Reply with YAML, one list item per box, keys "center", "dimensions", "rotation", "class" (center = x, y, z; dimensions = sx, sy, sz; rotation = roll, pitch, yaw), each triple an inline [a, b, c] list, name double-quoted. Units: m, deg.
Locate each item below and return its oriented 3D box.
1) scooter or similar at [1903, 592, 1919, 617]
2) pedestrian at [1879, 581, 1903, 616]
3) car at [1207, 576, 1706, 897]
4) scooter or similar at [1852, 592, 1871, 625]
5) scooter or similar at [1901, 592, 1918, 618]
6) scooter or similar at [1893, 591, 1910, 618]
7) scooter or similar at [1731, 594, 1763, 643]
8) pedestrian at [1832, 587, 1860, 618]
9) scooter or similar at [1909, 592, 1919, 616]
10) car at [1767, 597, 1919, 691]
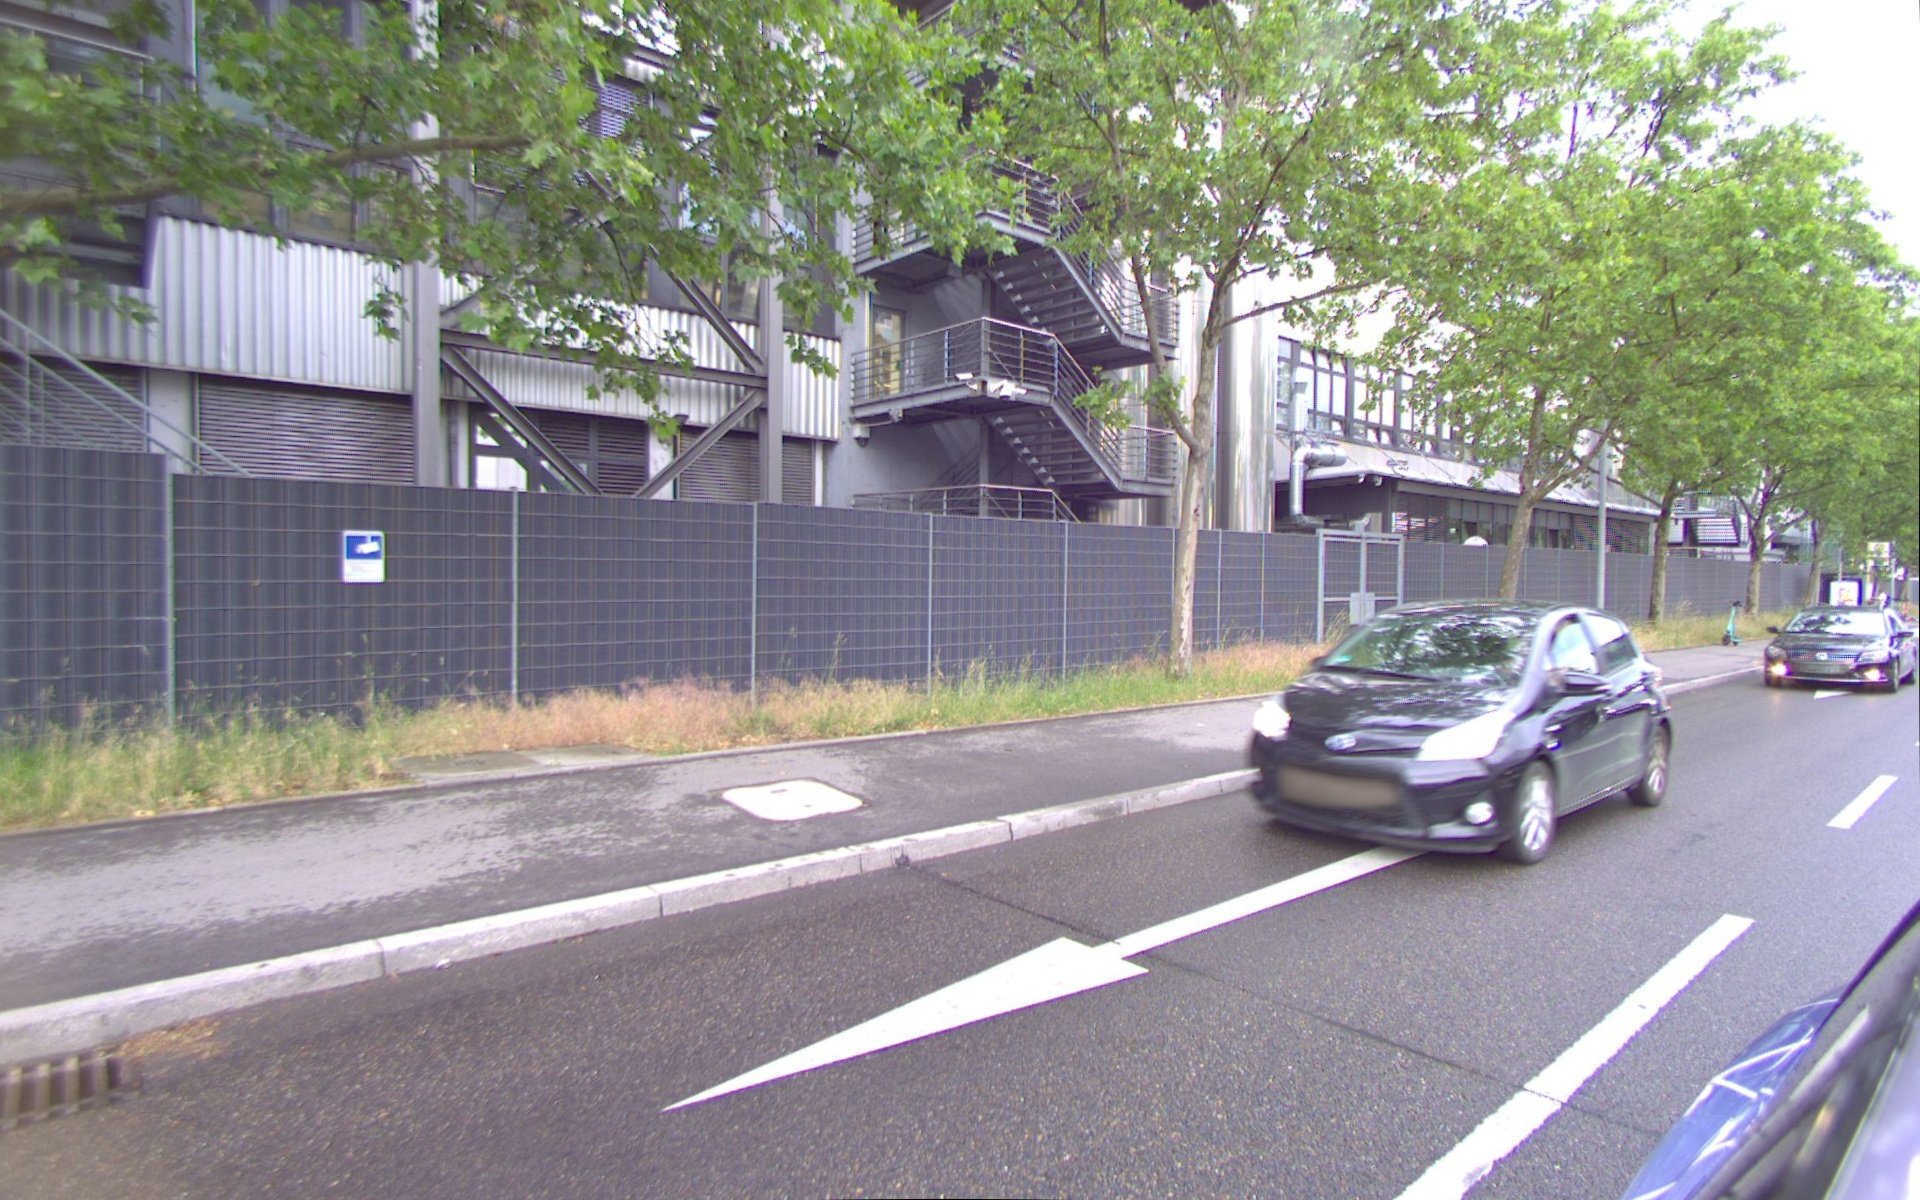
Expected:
- center: [51.030, 0.233, 54.270]
  dimensions: [1.277, 1.311, 0.437]
  rotation: [0, 1, -39]
  class: "scooter or similar"
- center: [46.463, -0.100, 50.521]
  dimensions: [0.717, 1.731, 0.777]
  rotation: [0, 1, -42]
  class: "pedestrian"
- center: [3.623, 0.642, 7.023]
  dimensions: [4.010, 1.512, 1.877]
  rotation: [0, 3, -45]
  class: "car"
- center: [37.390, 0.336, 41.957]
  dimensions: [1.222, 1.325, 0.329]
  rotation: [0, 1, -37]
  class: "scooter or similar"
- center: [49.540, 0.247, 52.803]
  dimensions: [1.277, 1.311, 0.437]
  rotation: [0, 1, -39]
  class: "scooter or similar"
- center: [48.391, 0.225, 52.002]
  dimensions: [1.277, 1.311, 0.437]
  rotation: [0, 1, -39]
  class: "scooter or similar"
- center: [21.411, 0.494, 27.533]
  dimensions: [1.087, 1.285, 0.330]
  rotation: [0, 1, -33]
  class: "scooter or similar"
- center: [43.109, 0.108, 49.232]
  dimensions: [0.686, 1.433, 0.932]
  rotation: [0, 1, -42]
  class: "pedestrian"
- center: [52.543, 0.223, 55.482]
  dimensions: [1.341, 1.311, 0.437]
  rotation: [0, 1, -34]
  class: "scooter or similar"
- center: [16.148, 0.692, 18.257]
  dimensions: [4.705, 1.471, 1.840]
  rotation: [0, 0, -43]
  class: "car"
